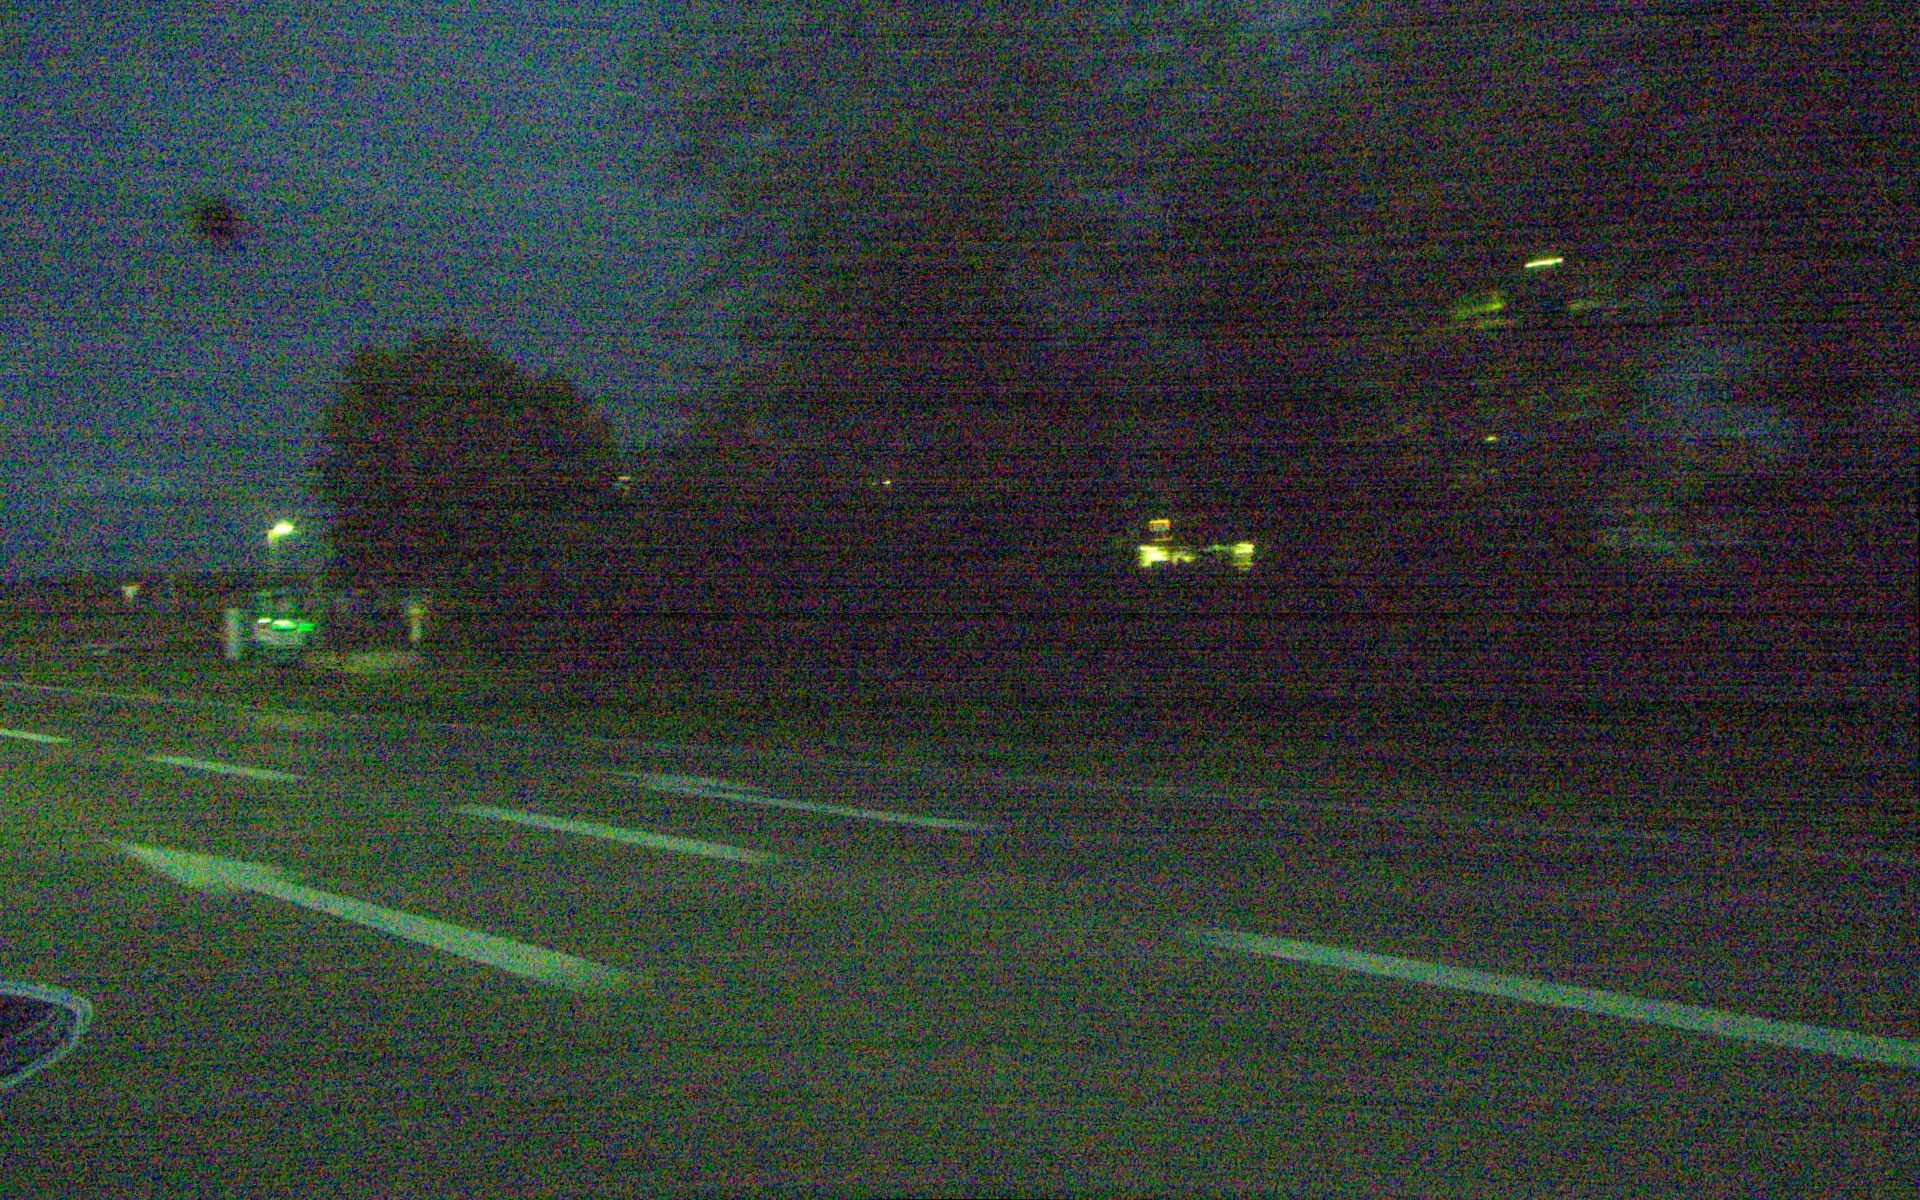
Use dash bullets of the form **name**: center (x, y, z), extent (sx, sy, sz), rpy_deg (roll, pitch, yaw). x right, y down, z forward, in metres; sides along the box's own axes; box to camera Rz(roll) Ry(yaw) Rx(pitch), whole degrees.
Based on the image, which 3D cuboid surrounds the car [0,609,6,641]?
- **car**: center (-48.203, 1.239, 46.993), extent (1.971, 1.541, 4.590), rpy_deg (0, 1, 32)
